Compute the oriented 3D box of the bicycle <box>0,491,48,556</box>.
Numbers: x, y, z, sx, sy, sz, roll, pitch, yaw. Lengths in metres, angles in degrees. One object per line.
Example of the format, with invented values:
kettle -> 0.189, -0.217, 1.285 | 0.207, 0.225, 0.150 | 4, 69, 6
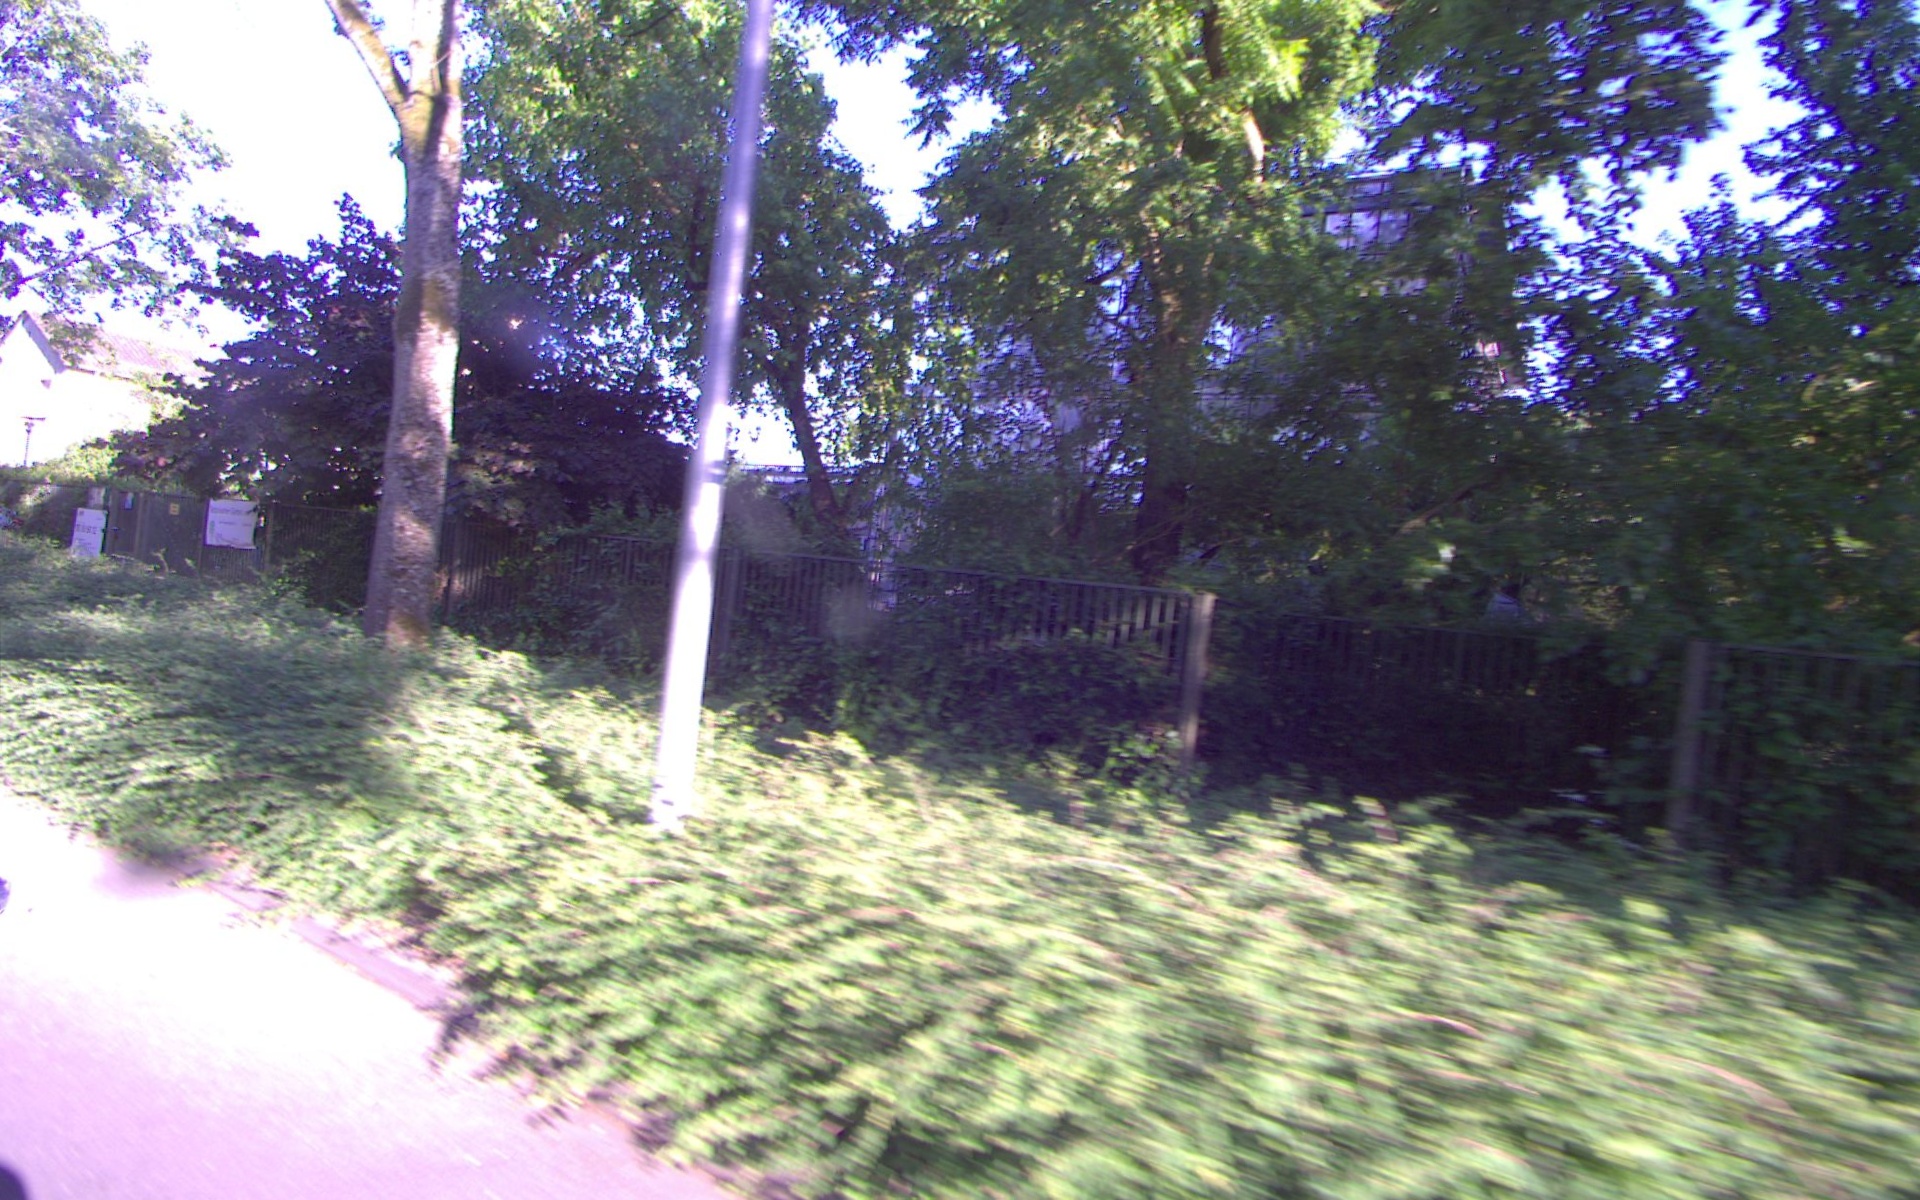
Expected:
bicycle -> -19.202, -1.566, 20.209 | 0.877, 1.216, 2.305 | 5, 1, -33
